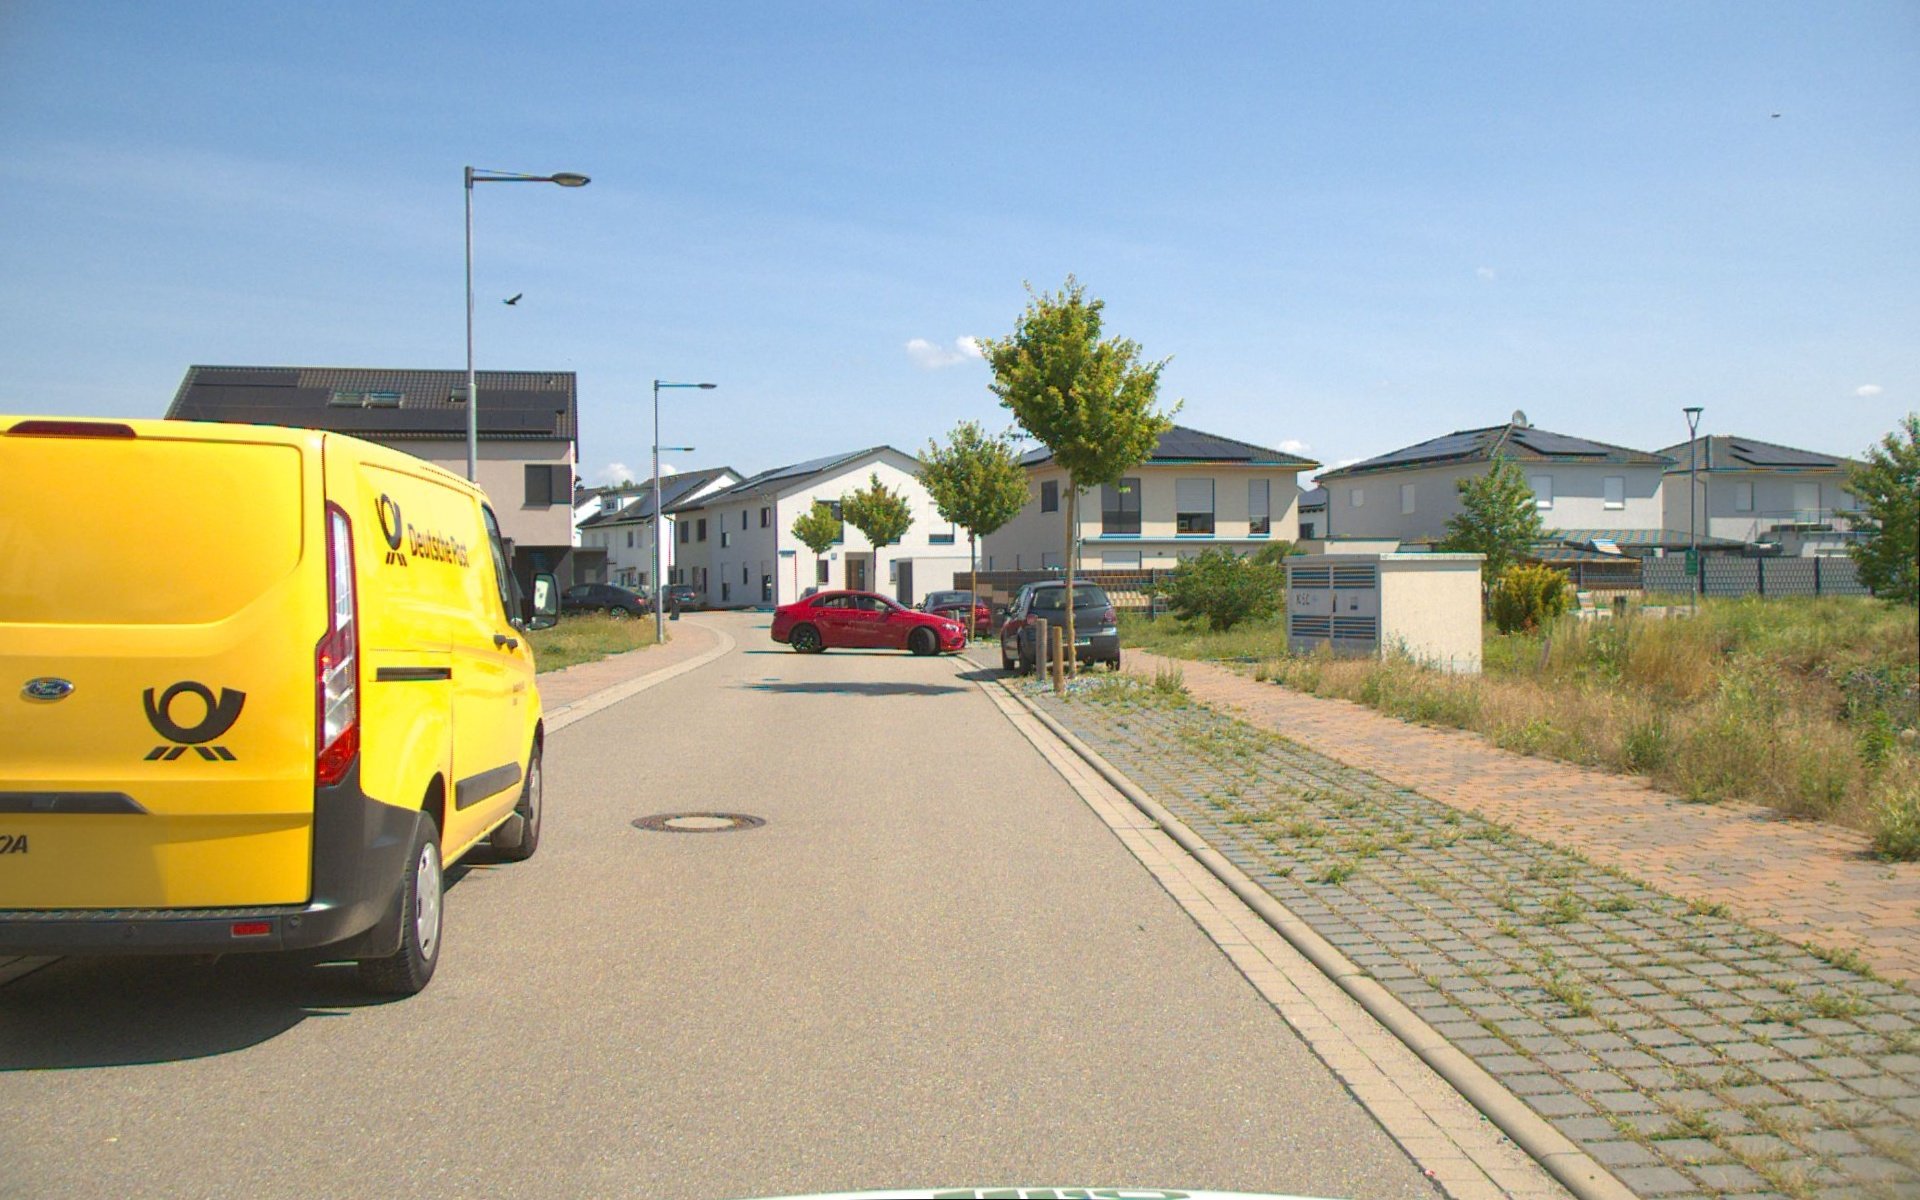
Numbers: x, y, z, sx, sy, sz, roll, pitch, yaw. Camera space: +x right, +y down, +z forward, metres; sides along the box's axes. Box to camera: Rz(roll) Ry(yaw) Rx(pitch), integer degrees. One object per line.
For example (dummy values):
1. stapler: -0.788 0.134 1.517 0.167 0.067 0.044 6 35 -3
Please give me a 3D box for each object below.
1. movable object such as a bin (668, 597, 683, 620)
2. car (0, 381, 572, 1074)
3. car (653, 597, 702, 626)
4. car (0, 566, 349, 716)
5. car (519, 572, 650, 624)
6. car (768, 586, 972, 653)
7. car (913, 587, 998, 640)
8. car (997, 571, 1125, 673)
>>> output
1. movable object such as a bin: -11.661 0.355 67.797 0.524 0.952 0.526 1 0 -3
2. car: -2.937 0.360 7.317 1.848 2.049 4.834 0 0 -7
3. car: -14.956 0.603 87.432 1.703 1.447 3.972 -2 1 -23
4. car: -8.809 0.401 17.394 4.322 1.477 1.741 0 0 -17
5. car: -12.959 -0.069 57.248 4.298 1.660 1.765 2 0 -12
6. car: -1.999 0.430 37.590 4.409 1.463 1.769 0 0 5
7. car: -0.176 0.353 46.158 1.722 1.387 4.567 0 0 -8
8. car: 1.602 0.327 27.401 1.567 1.500 3.672 -3 1 -4
